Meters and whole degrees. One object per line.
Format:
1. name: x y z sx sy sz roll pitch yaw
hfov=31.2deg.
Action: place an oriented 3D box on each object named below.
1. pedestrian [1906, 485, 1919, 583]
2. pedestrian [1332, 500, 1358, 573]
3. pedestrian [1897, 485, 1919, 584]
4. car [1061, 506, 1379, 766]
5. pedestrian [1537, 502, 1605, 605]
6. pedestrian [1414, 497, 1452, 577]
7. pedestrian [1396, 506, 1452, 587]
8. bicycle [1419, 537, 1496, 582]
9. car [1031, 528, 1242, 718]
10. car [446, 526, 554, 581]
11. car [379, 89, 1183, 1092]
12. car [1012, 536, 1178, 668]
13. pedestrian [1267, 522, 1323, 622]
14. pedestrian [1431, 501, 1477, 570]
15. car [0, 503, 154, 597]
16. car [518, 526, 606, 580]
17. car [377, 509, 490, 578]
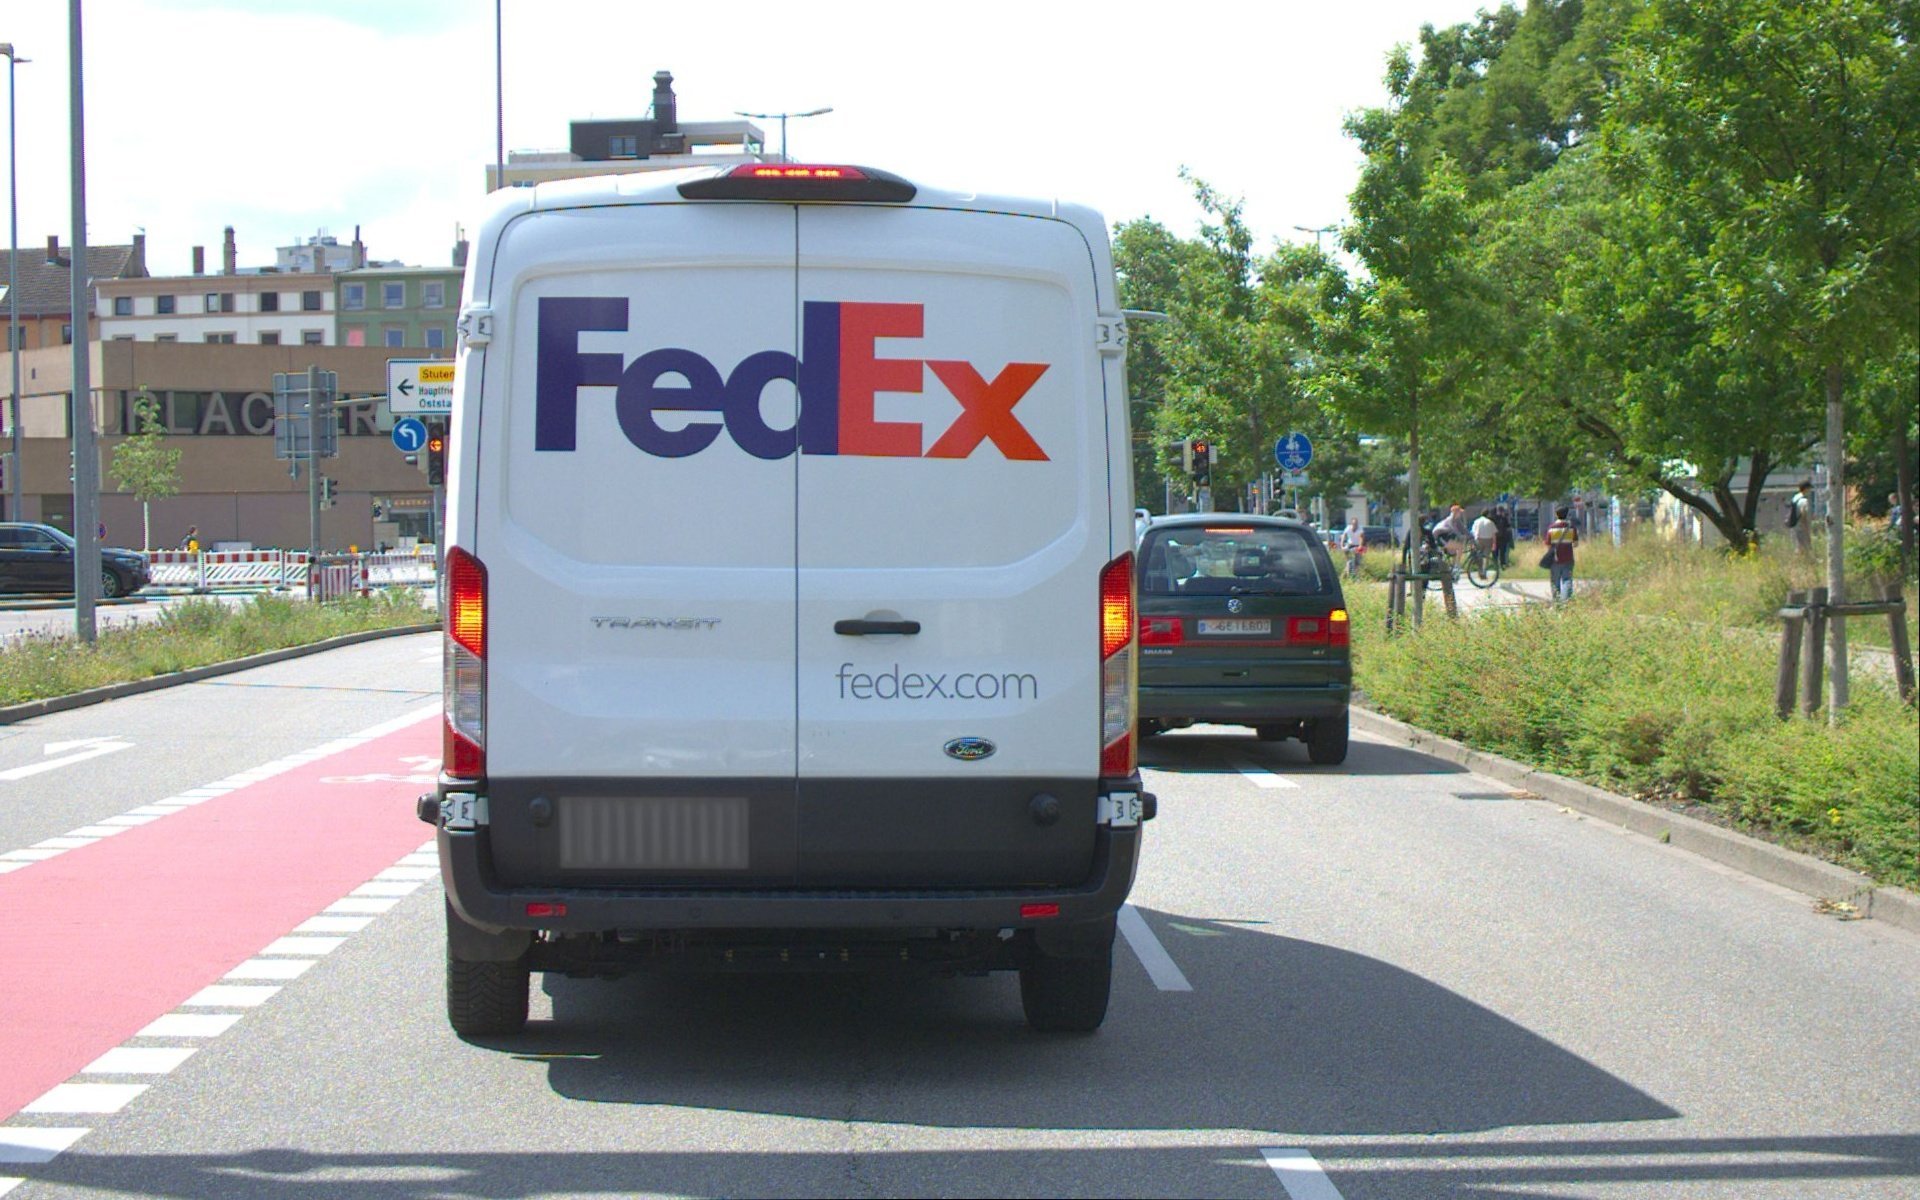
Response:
1. pedestrian: 20.479 -1.387 72.371 0.738 2.051 0.848 -1 1 -18
2. pedestrian: 10.040 -1.647 89.633 0.574 1.886 0.679 -1 1 -2
3. pedestrian: 19.968 -1.366 71.374 0.846 2.051 0.740 0 1 26
4. car: 1.795 0.184 25.050 1.812 1.728 4.389 0 1 -2
5. pedestrian: 9.265 -0.714 52.128 0.845 1.533 0.835 -1 1 -2
6. pedestrian: 11.173 -1.486 81.254 0.679 1.886 0.574 1 2 42
7. pedestrian: 8.008 -0.928 59.348 0.845 1.384 0.741 -1 1 -2
8. bicycle: 10.674 -0.869 73.805 1.571 0.952 0.485 0 1 17
9. car: 1.641 0.166 33.147 1.798 1.681 4.000 -1 1 0
10. car: -13.621 -1.382 101.930 1.902 1.579 3.998 -1 1 12
11. car: -0.768 -0.095 12.015 2.140 2.643 5.705 0 1 -6
12. car: 1.565 -0.013 41.023 1.798 1.456 3.838 -1 1 0
13. pedestrian: 6.395 -0.544 65.621 0.950 1.886 0.774 -1 1 -2
14. pedestrian: 10.603 -1.384 73.810 0.900 1.467 0.485 0 1 17
15. car: -20.224 -1.090 75.569 4.627 2.007 2.100 -1 1 -6
16. car: -12.502 -1.479 108.151 1.879 1.646 3.999 -1 1 6
17. car: -15.778 -1.685 103.199 1.994 2.007 3.998 -1 1 12
